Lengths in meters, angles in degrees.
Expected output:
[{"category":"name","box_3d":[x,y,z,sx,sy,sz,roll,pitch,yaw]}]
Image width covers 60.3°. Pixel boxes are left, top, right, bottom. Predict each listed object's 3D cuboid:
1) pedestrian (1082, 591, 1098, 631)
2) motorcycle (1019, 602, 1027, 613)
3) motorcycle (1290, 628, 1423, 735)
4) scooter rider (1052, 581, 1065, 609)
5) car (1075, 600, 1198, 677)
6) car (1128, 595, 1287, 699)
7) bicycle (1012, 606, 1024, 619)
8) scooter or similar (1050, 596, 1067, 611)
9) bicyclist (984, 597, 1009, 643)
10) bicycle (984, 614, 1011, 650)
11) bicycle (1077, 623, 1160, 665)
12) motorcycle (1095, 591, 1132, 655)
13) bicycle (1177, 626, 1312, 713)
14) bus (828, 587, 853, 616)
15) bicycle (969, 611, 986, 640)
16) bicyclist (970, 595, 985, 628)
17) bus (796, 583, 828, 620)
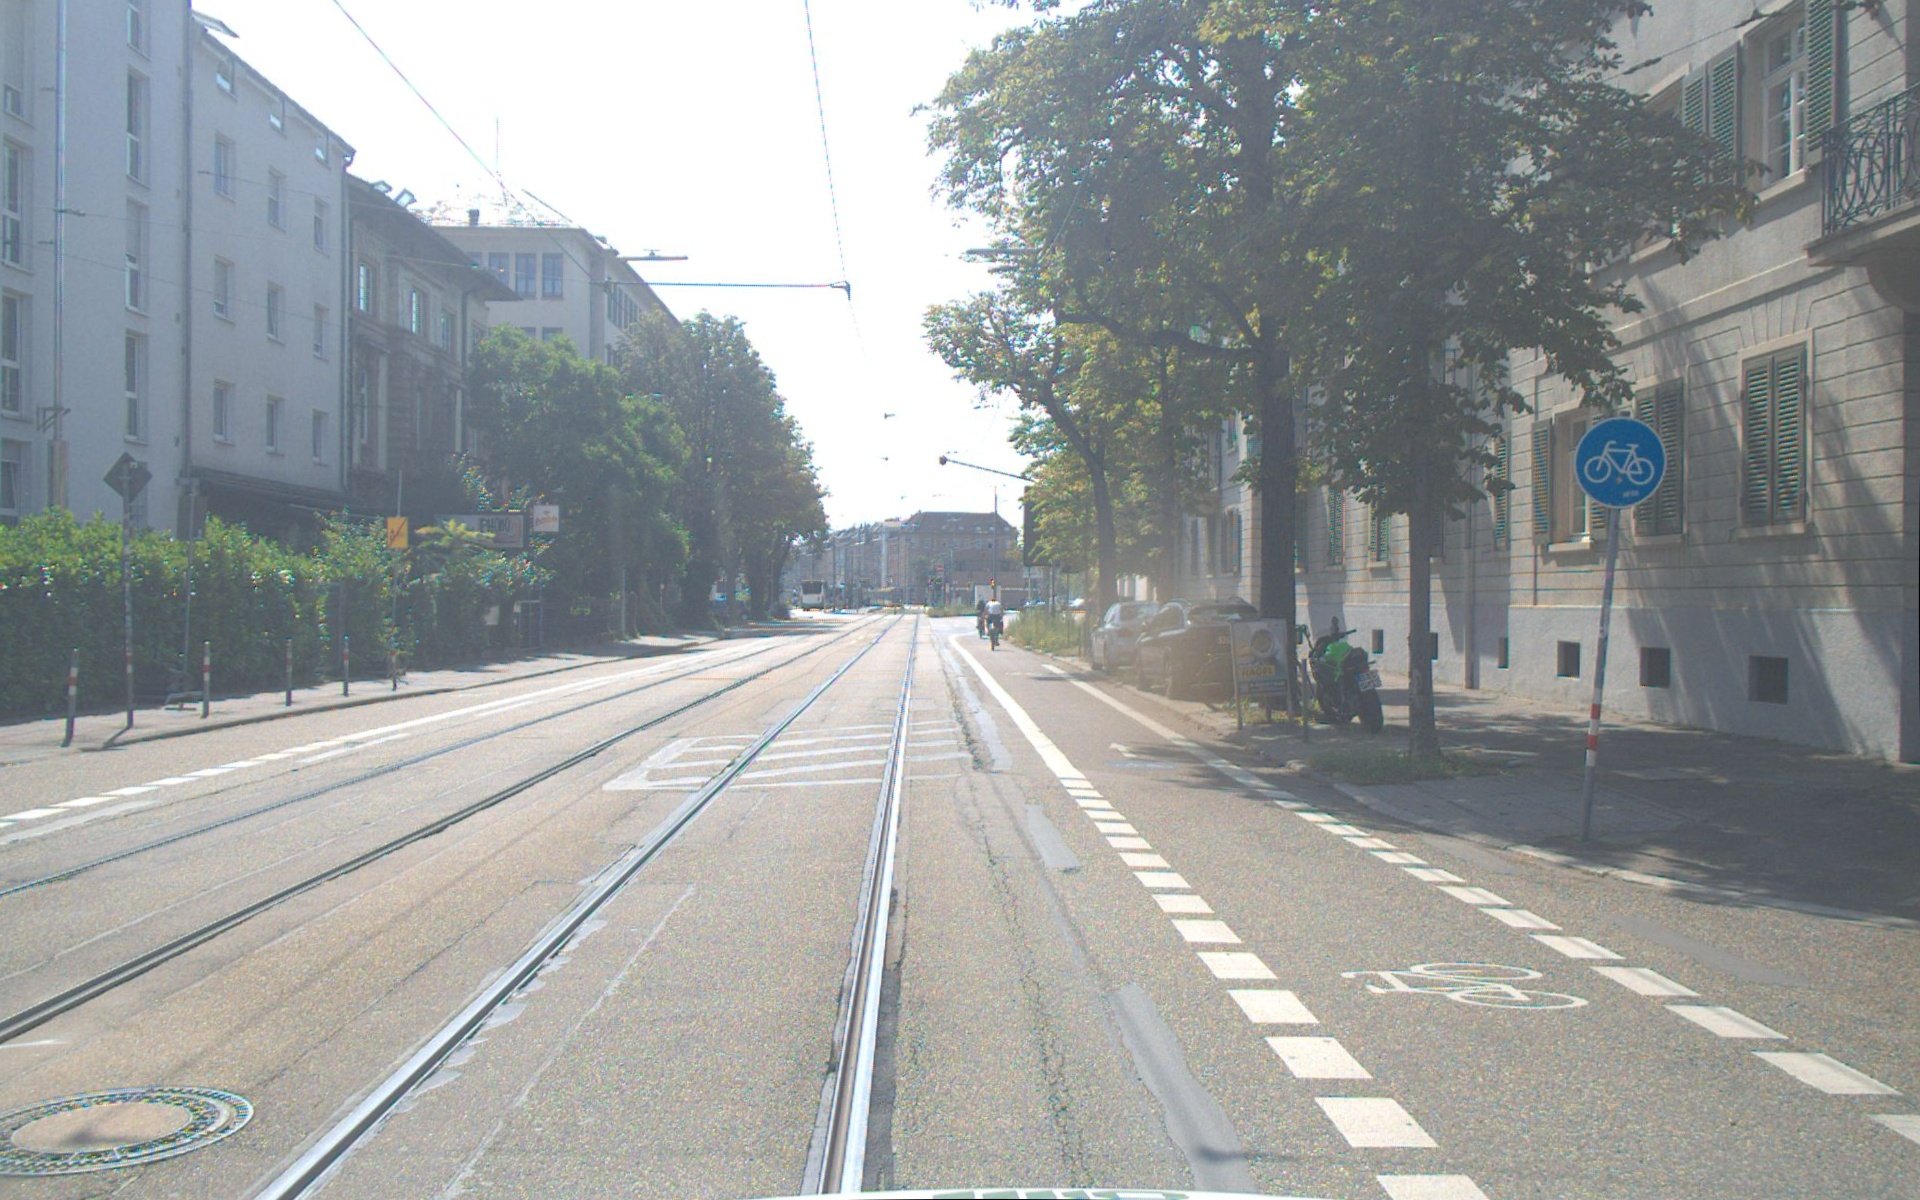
[{"category":"pedestrian","box_3d":[5.734,0.489,73.034,0.677,1.762,0.579,0,0,0]},{"category":"motorcycle","box_3d":[7.348,0.871,193.426,0.591,1.232,2.255,0,0,9]},{"category":"motorcycle","box_3d":[4.577,0.911,19.317,0.810,1.130,2.496,0,0,-4]},{"category":"scooter rider","box_3d":[6.438,-0.316,108.444,0.746,1.806,0.555,0,0,15]},{"category":"car","box_3d":[3.589,0.743,34.363,1.747,1.476,4.747,-1,0,-4]},{"category":"car","box_3d":[3.915,0.694,26.842,1.630,1.533,4.431,-1,0,-4]},{"category":"bicycle","box_3d":[5.377,1.157,152.396,0.436,1.136,1.441,0,0,34]},{"category":"scooter or similar","box_3d":[6.445,0.209,108.475,0.756,0.943,1.621,1,0,16]},{"category":"bicyclist","box_3d":[1.156,0.619,52.112,0.730,1.436,0.961,1,0,-1]},{"category":"bicycle","box_3d":[1.163,0.987,51.928,0.724,1.067,2.232,1,0,-1]},{"category":"bicycle","box_3d":[3.691,1.022,38.569,1.883,0.969,0.721,0,0,1]},{"category":"motorcycle","box_3d":[3.925,0.579,42.182,0.867,1.580,2.413,-1,0,6]},{"category":"bicycle","box_3d":[3.861,0.941,22.512,1.719,1.142,0.655,0,0,-2]},{"category":"bus","box_3d":[-16.432,0.207,227.633,2.654,3.792,10.418,1,0,0]},{"category":"bicycle","box_3d":[0.721,1.044,69.298,0.592,1.183,1.809,0,0,-3]},{"category":"bicyclist","box_3d":[0.720,0.488,69.323,0.591,1.358,0.659,0,0,-4]},{"category":"bus","box_3d":[-16.253,0.190,182.257,2.898,3.841,10.592,1,0,-2]}]
